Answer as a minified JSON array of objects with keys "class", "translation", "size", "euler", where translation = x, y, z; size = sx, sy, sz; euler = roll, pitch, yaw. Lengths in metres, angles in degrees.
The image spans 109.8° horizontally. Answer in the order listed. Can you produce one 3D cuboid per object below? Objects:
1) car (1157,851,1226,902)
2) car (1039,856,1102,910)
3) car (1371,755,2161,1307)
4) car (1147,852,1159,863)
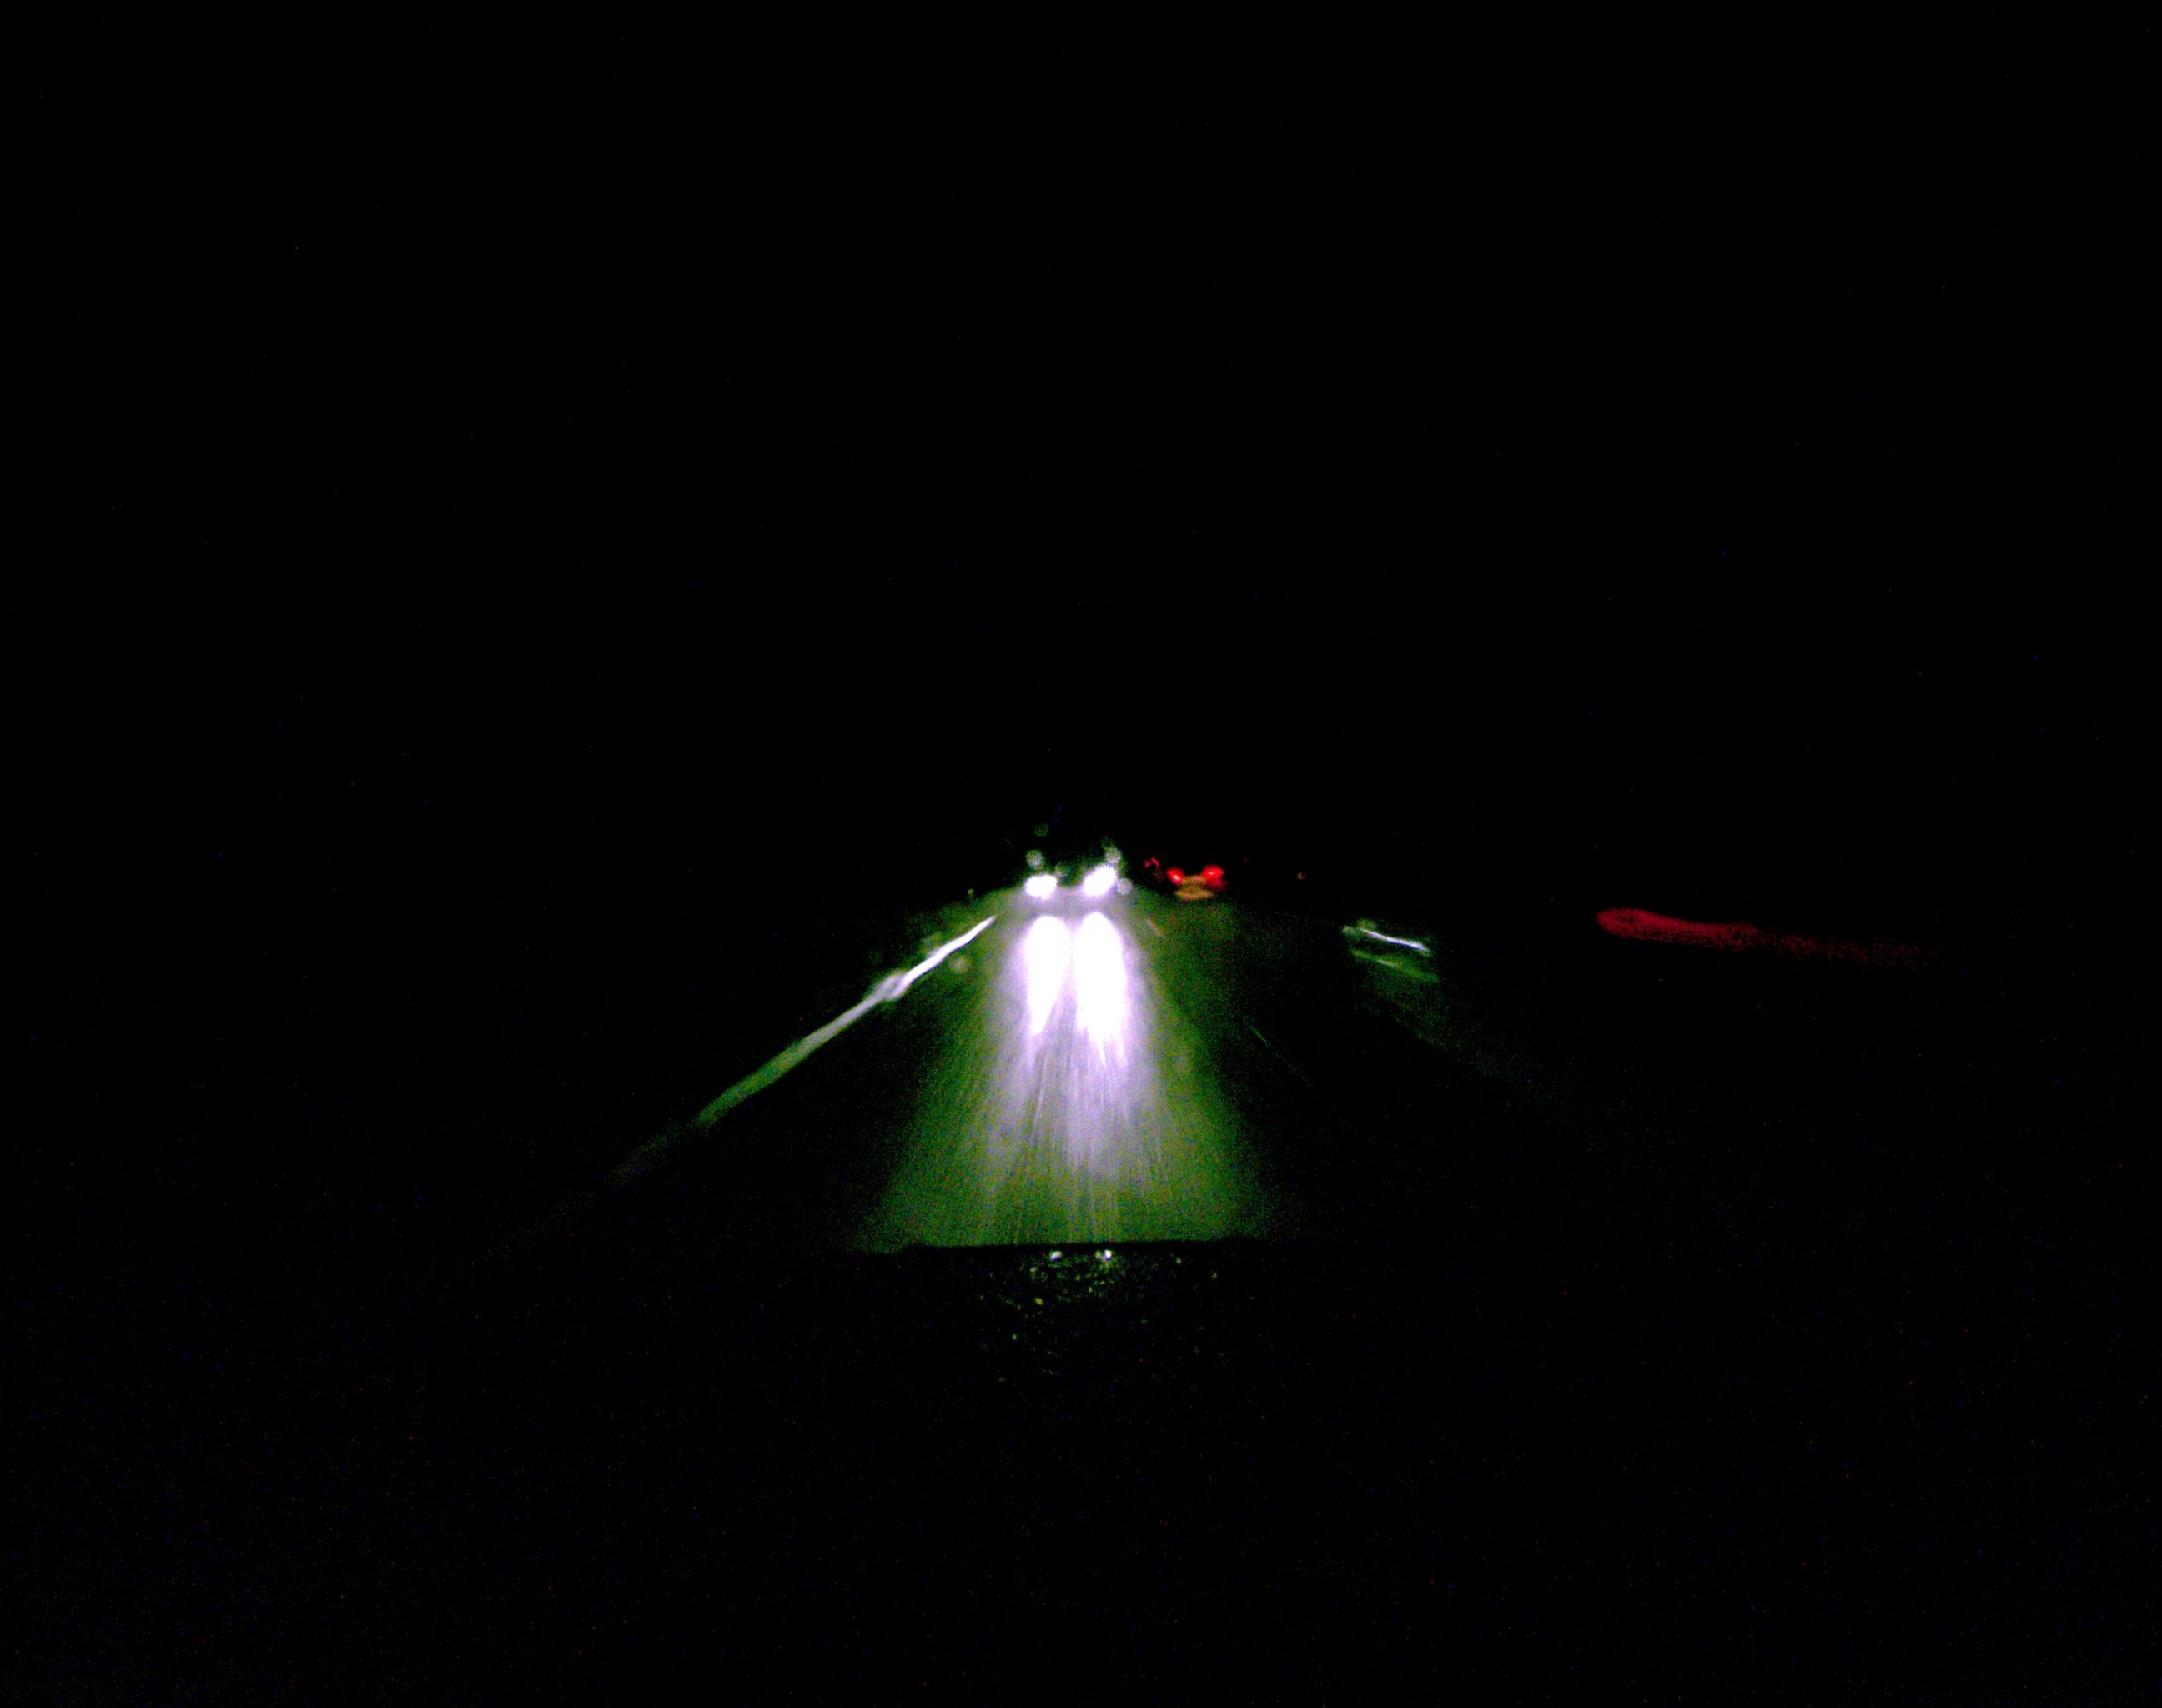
[{"class":"car","translation":[3.673,0.711,25.832],"size":[1.848,1.496,3.709],"euler":[-2,1,1]},{"class":"car","translation":[-0.248,0.864,24.224],"size":[1.744,1.501,3.600],"euler":[-3,0,2]},{"class":"car","translation":[3.433,0.631,4.543],"size":[1.841,1.833,4.001],"euler":[0,-1,0]},{"class":"car","translation":[13.298,0.598,140.409],"size":[1.998,2.002,4.458],"euler":[0,0,5]}]
